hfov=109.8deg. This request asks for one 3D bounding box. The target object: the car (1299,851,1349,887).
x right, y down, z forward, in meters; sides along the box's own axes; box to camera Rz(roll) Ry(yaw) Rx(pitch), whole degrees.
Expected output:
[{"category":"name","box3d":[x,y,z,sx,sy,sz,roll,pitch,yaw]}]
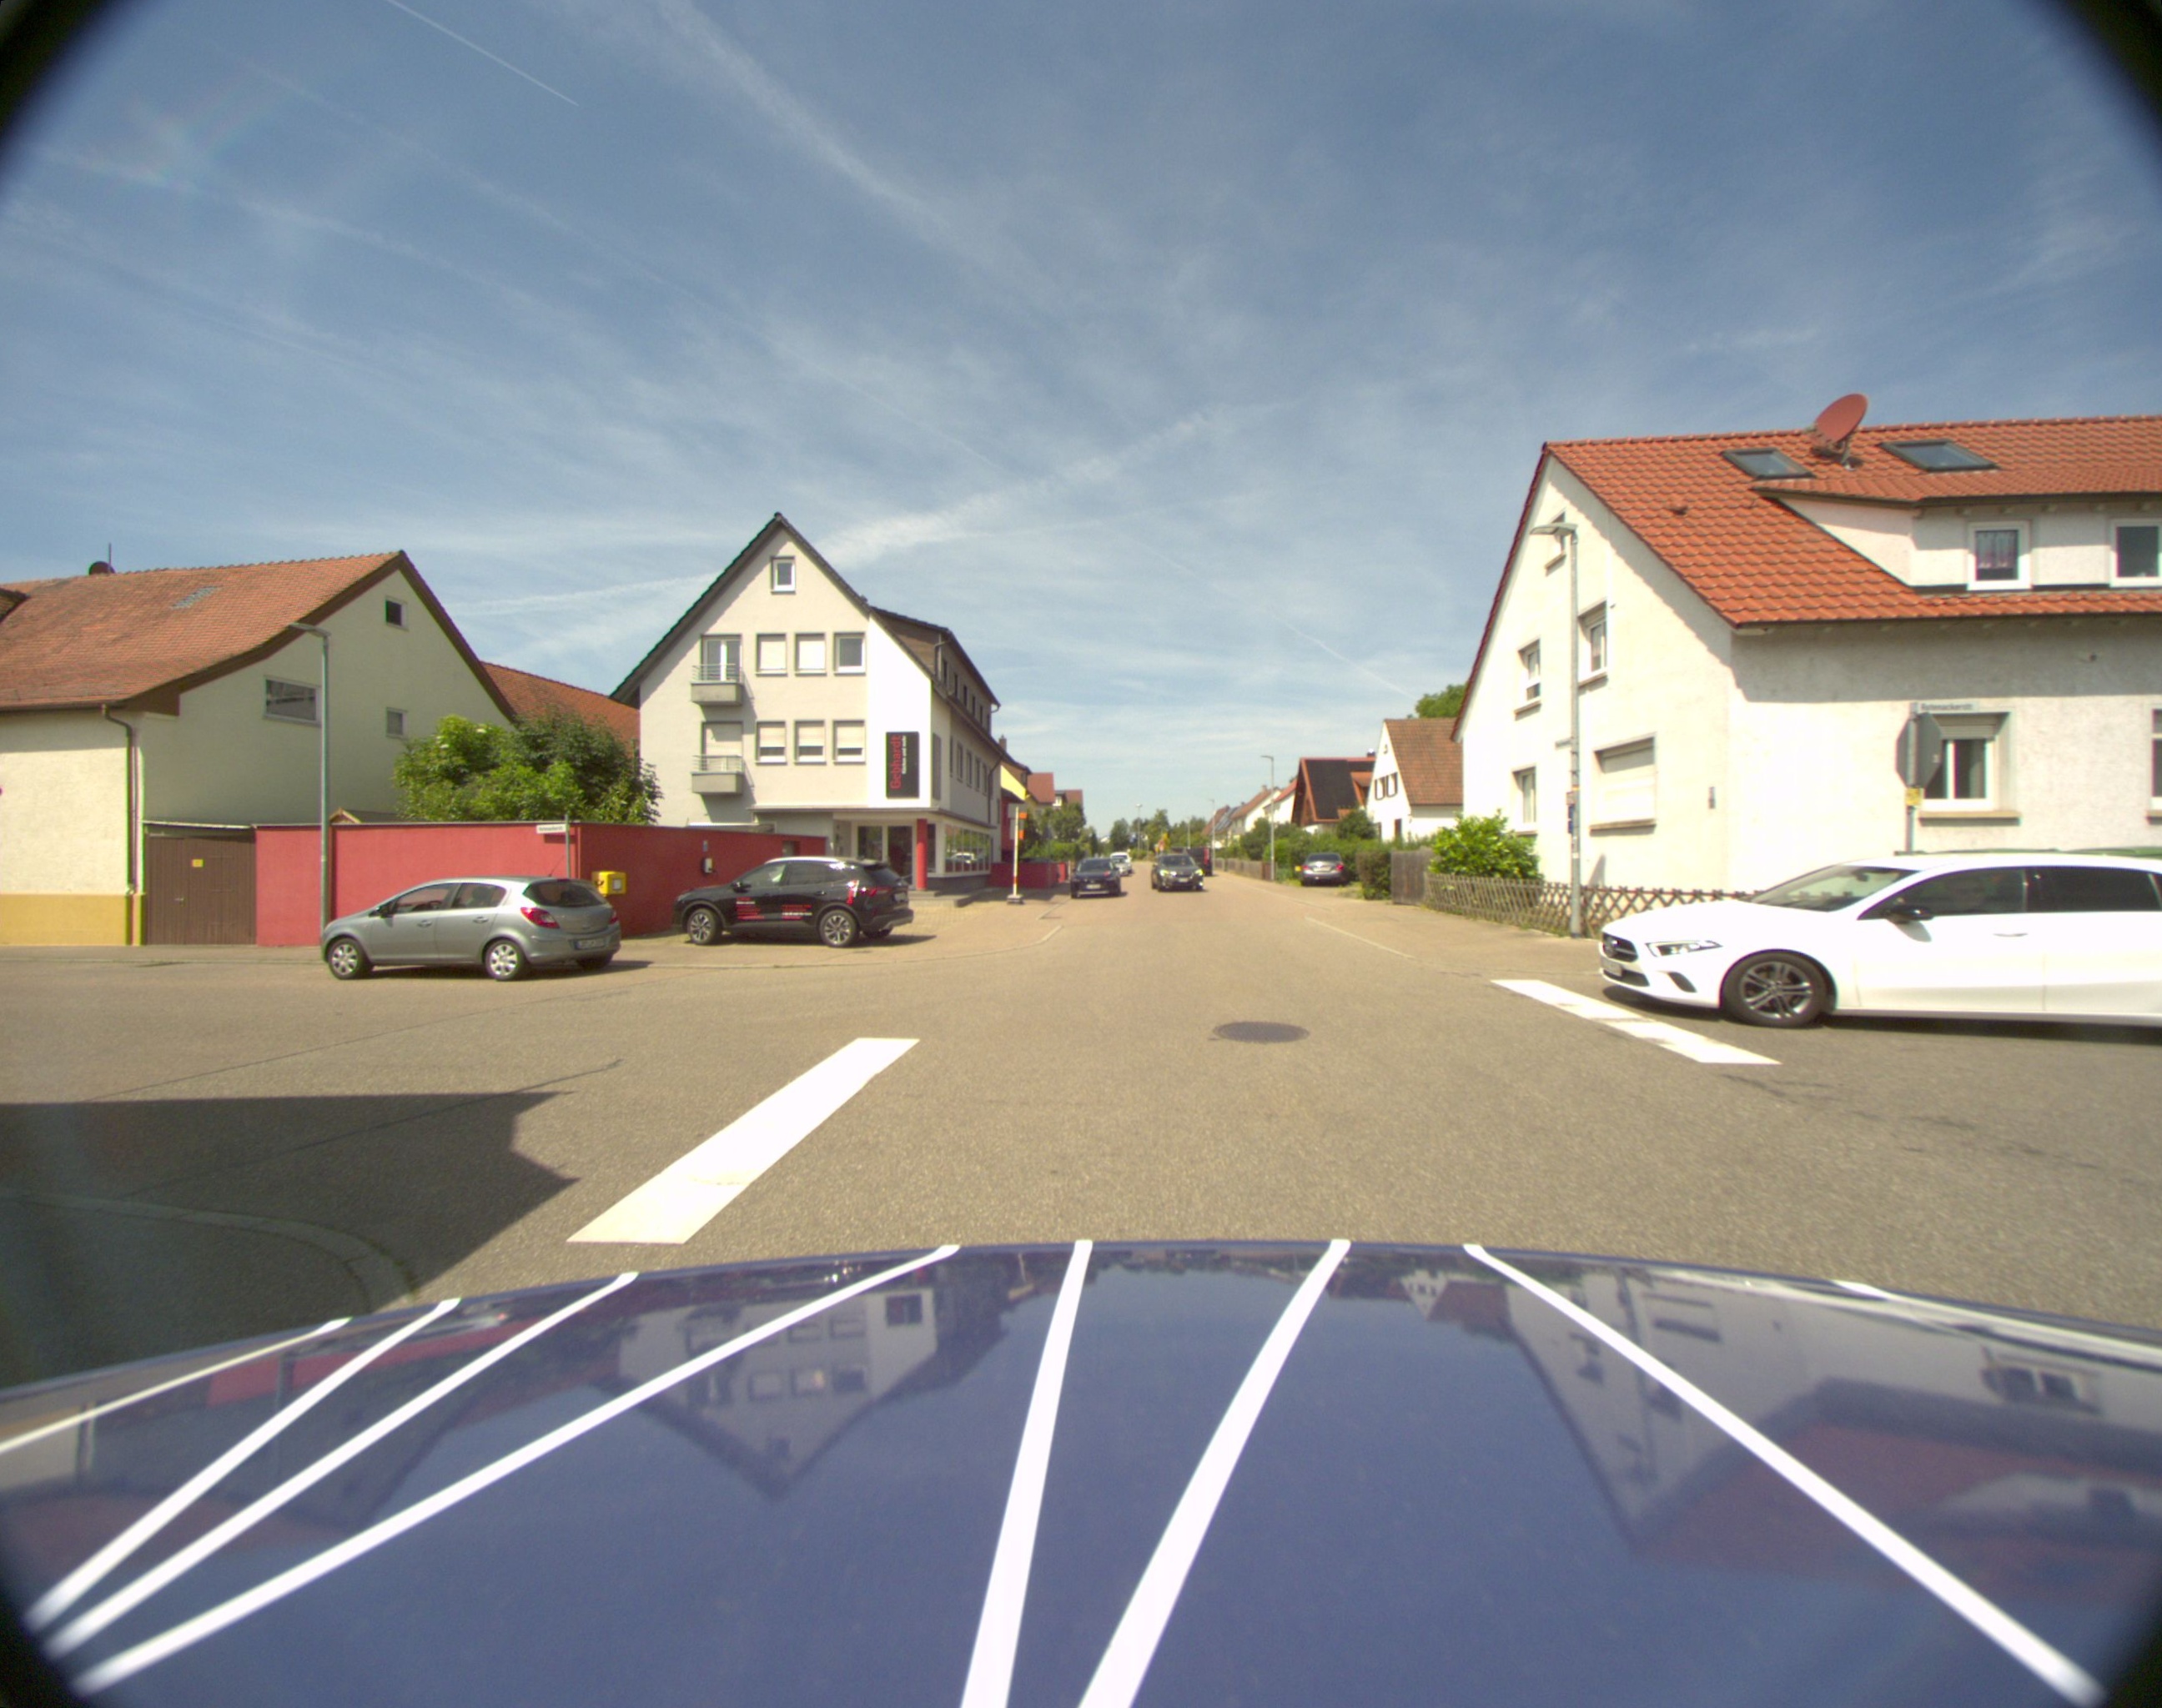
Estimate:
[{"category":"car","box3d":[10.795,0.619,33.549,1.829,1.423,4.569,-1,0,21]}]

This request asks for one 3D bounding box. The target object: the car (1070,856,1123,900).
[{"category":"car","box3d":[0.691,0.871,29.937,1.765,1.518,4.407,-2,0,5]}]

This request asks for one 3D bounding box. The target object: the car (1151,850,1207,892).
[{"category":"car","box3d":[4.099,0.675,32.409,1.838,1.638,4.323,-1,0,0]}]

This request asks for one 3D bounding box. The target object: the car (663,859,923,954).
[{"category":"car","box3d":[-5.459,0.974,14.673,4.301,1.644,1.849,-1,1,9]}]

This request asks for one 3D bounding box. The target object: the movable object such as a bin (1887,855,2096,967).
[{"category":"movable object such as a bin","box3d":[11.583,0.697,9.750,1.264,1.306,1.167,-1,1,13]}]

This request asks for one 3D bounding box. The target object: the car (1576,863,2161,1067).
[{"category":"car","box3d":[7.144,0.817,6.541,4.485,1.390,1.932,-1,1,18]}]

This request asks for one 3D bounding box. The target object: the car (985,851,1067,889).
[{"category":"car","box3d":[-3.147,0.898,44.141,4.377,1.659,1.877,-6,0,3]}]

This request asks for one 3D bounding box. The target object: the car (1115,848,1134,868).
[{"category":"car","box3d":[4.224,0.354,73.280,1.669,1.739,4.057,-2,0,4]}]

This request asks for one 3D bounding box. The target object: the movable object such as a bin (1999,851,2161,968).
[{"category":"movable object such as a bin","box3d":[12.930,0.657,9.531,1.264,1.328,1.314,-1,1,13]}]

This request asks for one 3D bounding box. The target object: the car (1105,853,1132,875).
[{"category":"car","box3d":[2.742,0.688,54.913,1.755,1.412,4.422,-3,0,4]}]

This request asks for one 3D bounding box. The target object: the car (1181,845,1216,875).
[{"category":"car","box3d":[8.025,0.362,52.240,1.972,1.940,4.697,-1,0,5]}]

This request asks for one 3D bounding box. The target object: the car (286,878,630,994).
[{"category":"car","box3d":[-9.037,1.127,11.151,3.994,1.495,1.696,-1,-1,10]}]

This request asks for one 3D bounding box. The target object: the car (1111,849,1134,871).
[{"category":"car","box3d":[3.378,0.483,61.358,1.740,1.652,4.338,-2,0,4]}]
